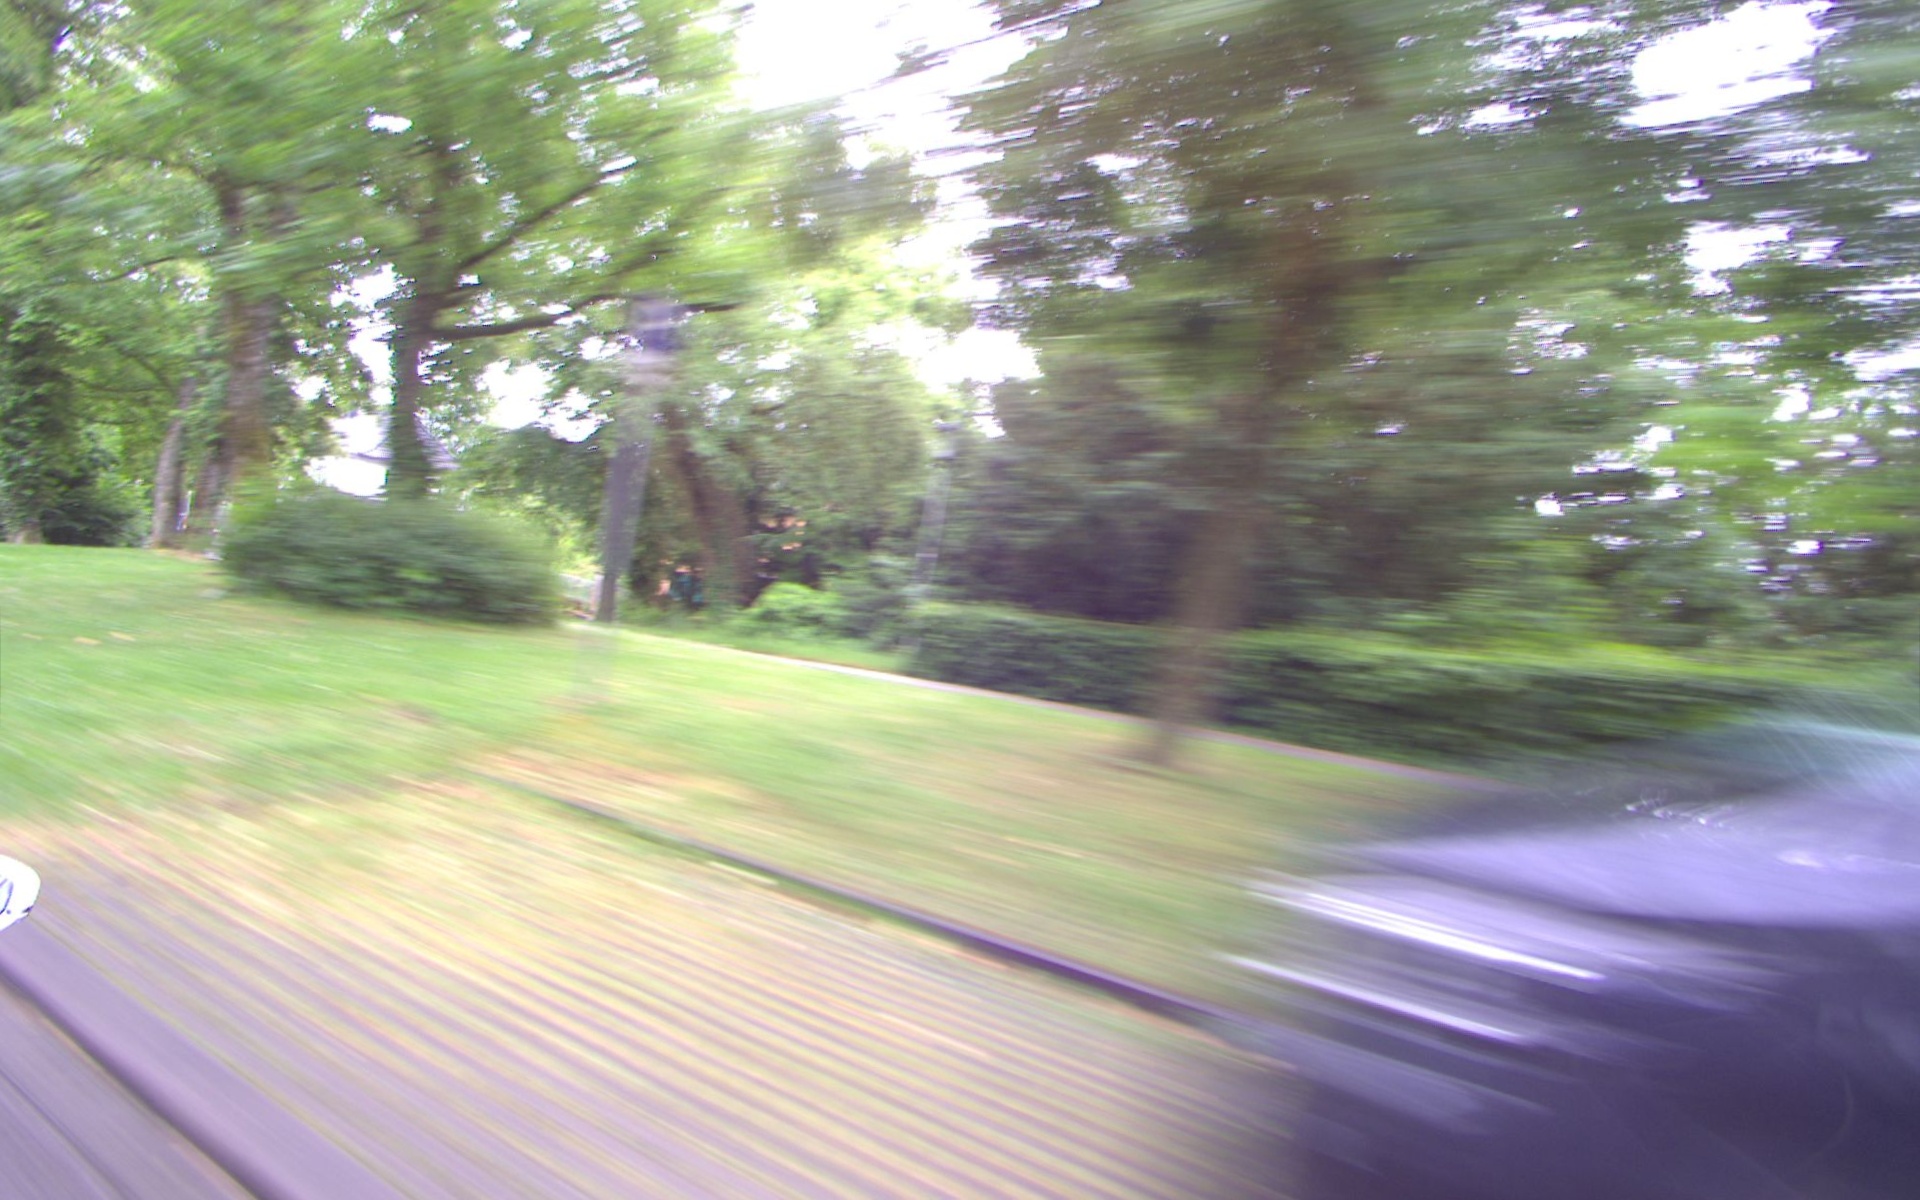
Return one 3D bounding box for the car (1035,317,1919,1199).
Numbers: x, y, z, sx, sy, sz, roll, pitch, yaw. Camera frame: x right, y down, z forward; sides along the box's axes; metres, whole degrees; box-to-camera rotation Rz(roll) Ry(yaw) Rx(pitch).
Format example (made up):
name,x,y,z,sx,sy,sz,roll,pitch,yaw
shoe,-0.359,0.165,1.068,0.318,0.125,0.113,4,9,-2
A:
name,x,y,z,sx,sy,sz,roll,pitch,yaw
car,2.991,0.884,1.178,5.416,1.933,1.996,7,0,31
